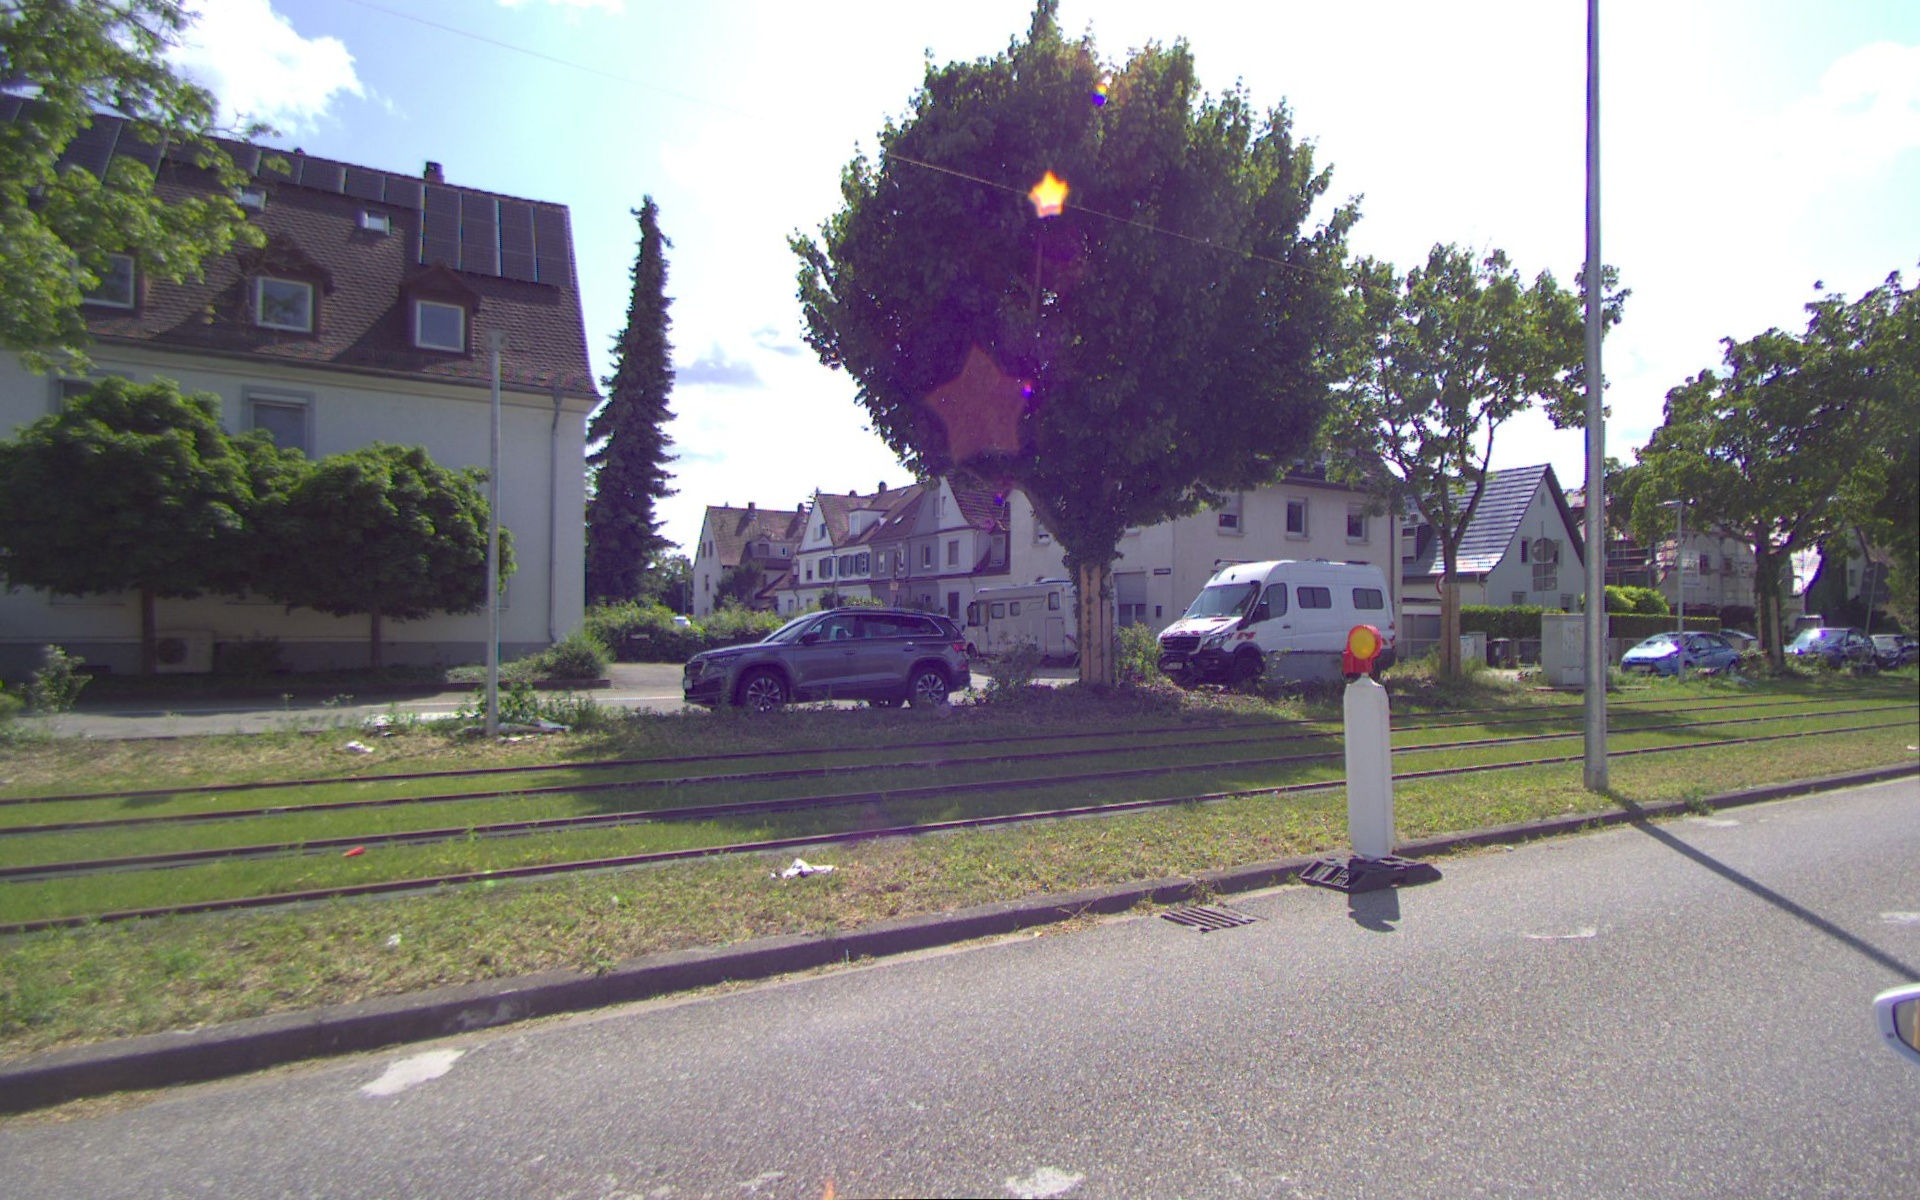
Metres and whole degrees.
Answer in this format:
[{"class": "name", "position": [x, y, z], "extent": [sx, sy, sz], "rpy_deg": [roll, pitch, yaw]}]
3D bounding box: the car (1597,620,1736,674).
[{"class": "car", "position": [20.533, 1.369, 29.184], "extent": [3.840, 1.454, 1.747], "rpy_deg": [2, -2, -28]}]

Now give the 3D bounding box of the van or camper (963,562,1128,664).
[{"class": "van or camper", "position": [2.867, 0.509, 35.883], "extent": [2.603, 3.264, 6.698], "rpy_deg": [1, -2, -29]}]

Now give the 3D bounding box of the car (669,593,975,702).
[{"class": "car", "position": [-2.165, 0.765, 16.038], "extent": [4.433, 1.525, 1.985], "rpy_deg": [2, -2, -30]}]

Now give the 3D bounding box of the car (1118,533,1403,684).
[{"class": "car", "position": [6.377, 0.237, 20.933], "extent": [6.390, 2.766, 1.983], "rpy_deg": [1, -2, -32]}]

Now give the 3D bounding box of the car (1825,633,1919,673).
[{"class": "car", "position": [34.718, 1.999, 37.861], "extent": [3.953, 1.457, 1.985], "rpy_deg": [2, -3, -30]}]

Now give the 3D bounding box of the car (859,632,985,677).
[{"class": "car", "position": [-1.152, 1.531, 28.738], "extent": [2.021, 1.176, 3.970], "rpy_deg": [2, -2, -29]}]

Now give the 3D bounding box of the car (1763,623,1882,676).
[{"class": "car", "position": [29.724, 1.701, 34.607], "extent": [4.345, 1.713, 1.982], "rpy_deg": [2, -2, -33]}]

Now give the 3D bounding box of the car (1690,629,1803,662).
[{"class": "car", "position": [38.909, 2.227, 49.757], "extent": [1.958, 1.419, 3.969], "rpy_deg": [2, -1, -29]}]

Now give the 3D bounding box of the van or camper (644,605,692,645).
[{"class": "van or camper", "position": [-16.091, 1.391, 55.270], "extent": [1.745, 2.128, 4.209], "rpy_deg": [2, -2, -27]}]
